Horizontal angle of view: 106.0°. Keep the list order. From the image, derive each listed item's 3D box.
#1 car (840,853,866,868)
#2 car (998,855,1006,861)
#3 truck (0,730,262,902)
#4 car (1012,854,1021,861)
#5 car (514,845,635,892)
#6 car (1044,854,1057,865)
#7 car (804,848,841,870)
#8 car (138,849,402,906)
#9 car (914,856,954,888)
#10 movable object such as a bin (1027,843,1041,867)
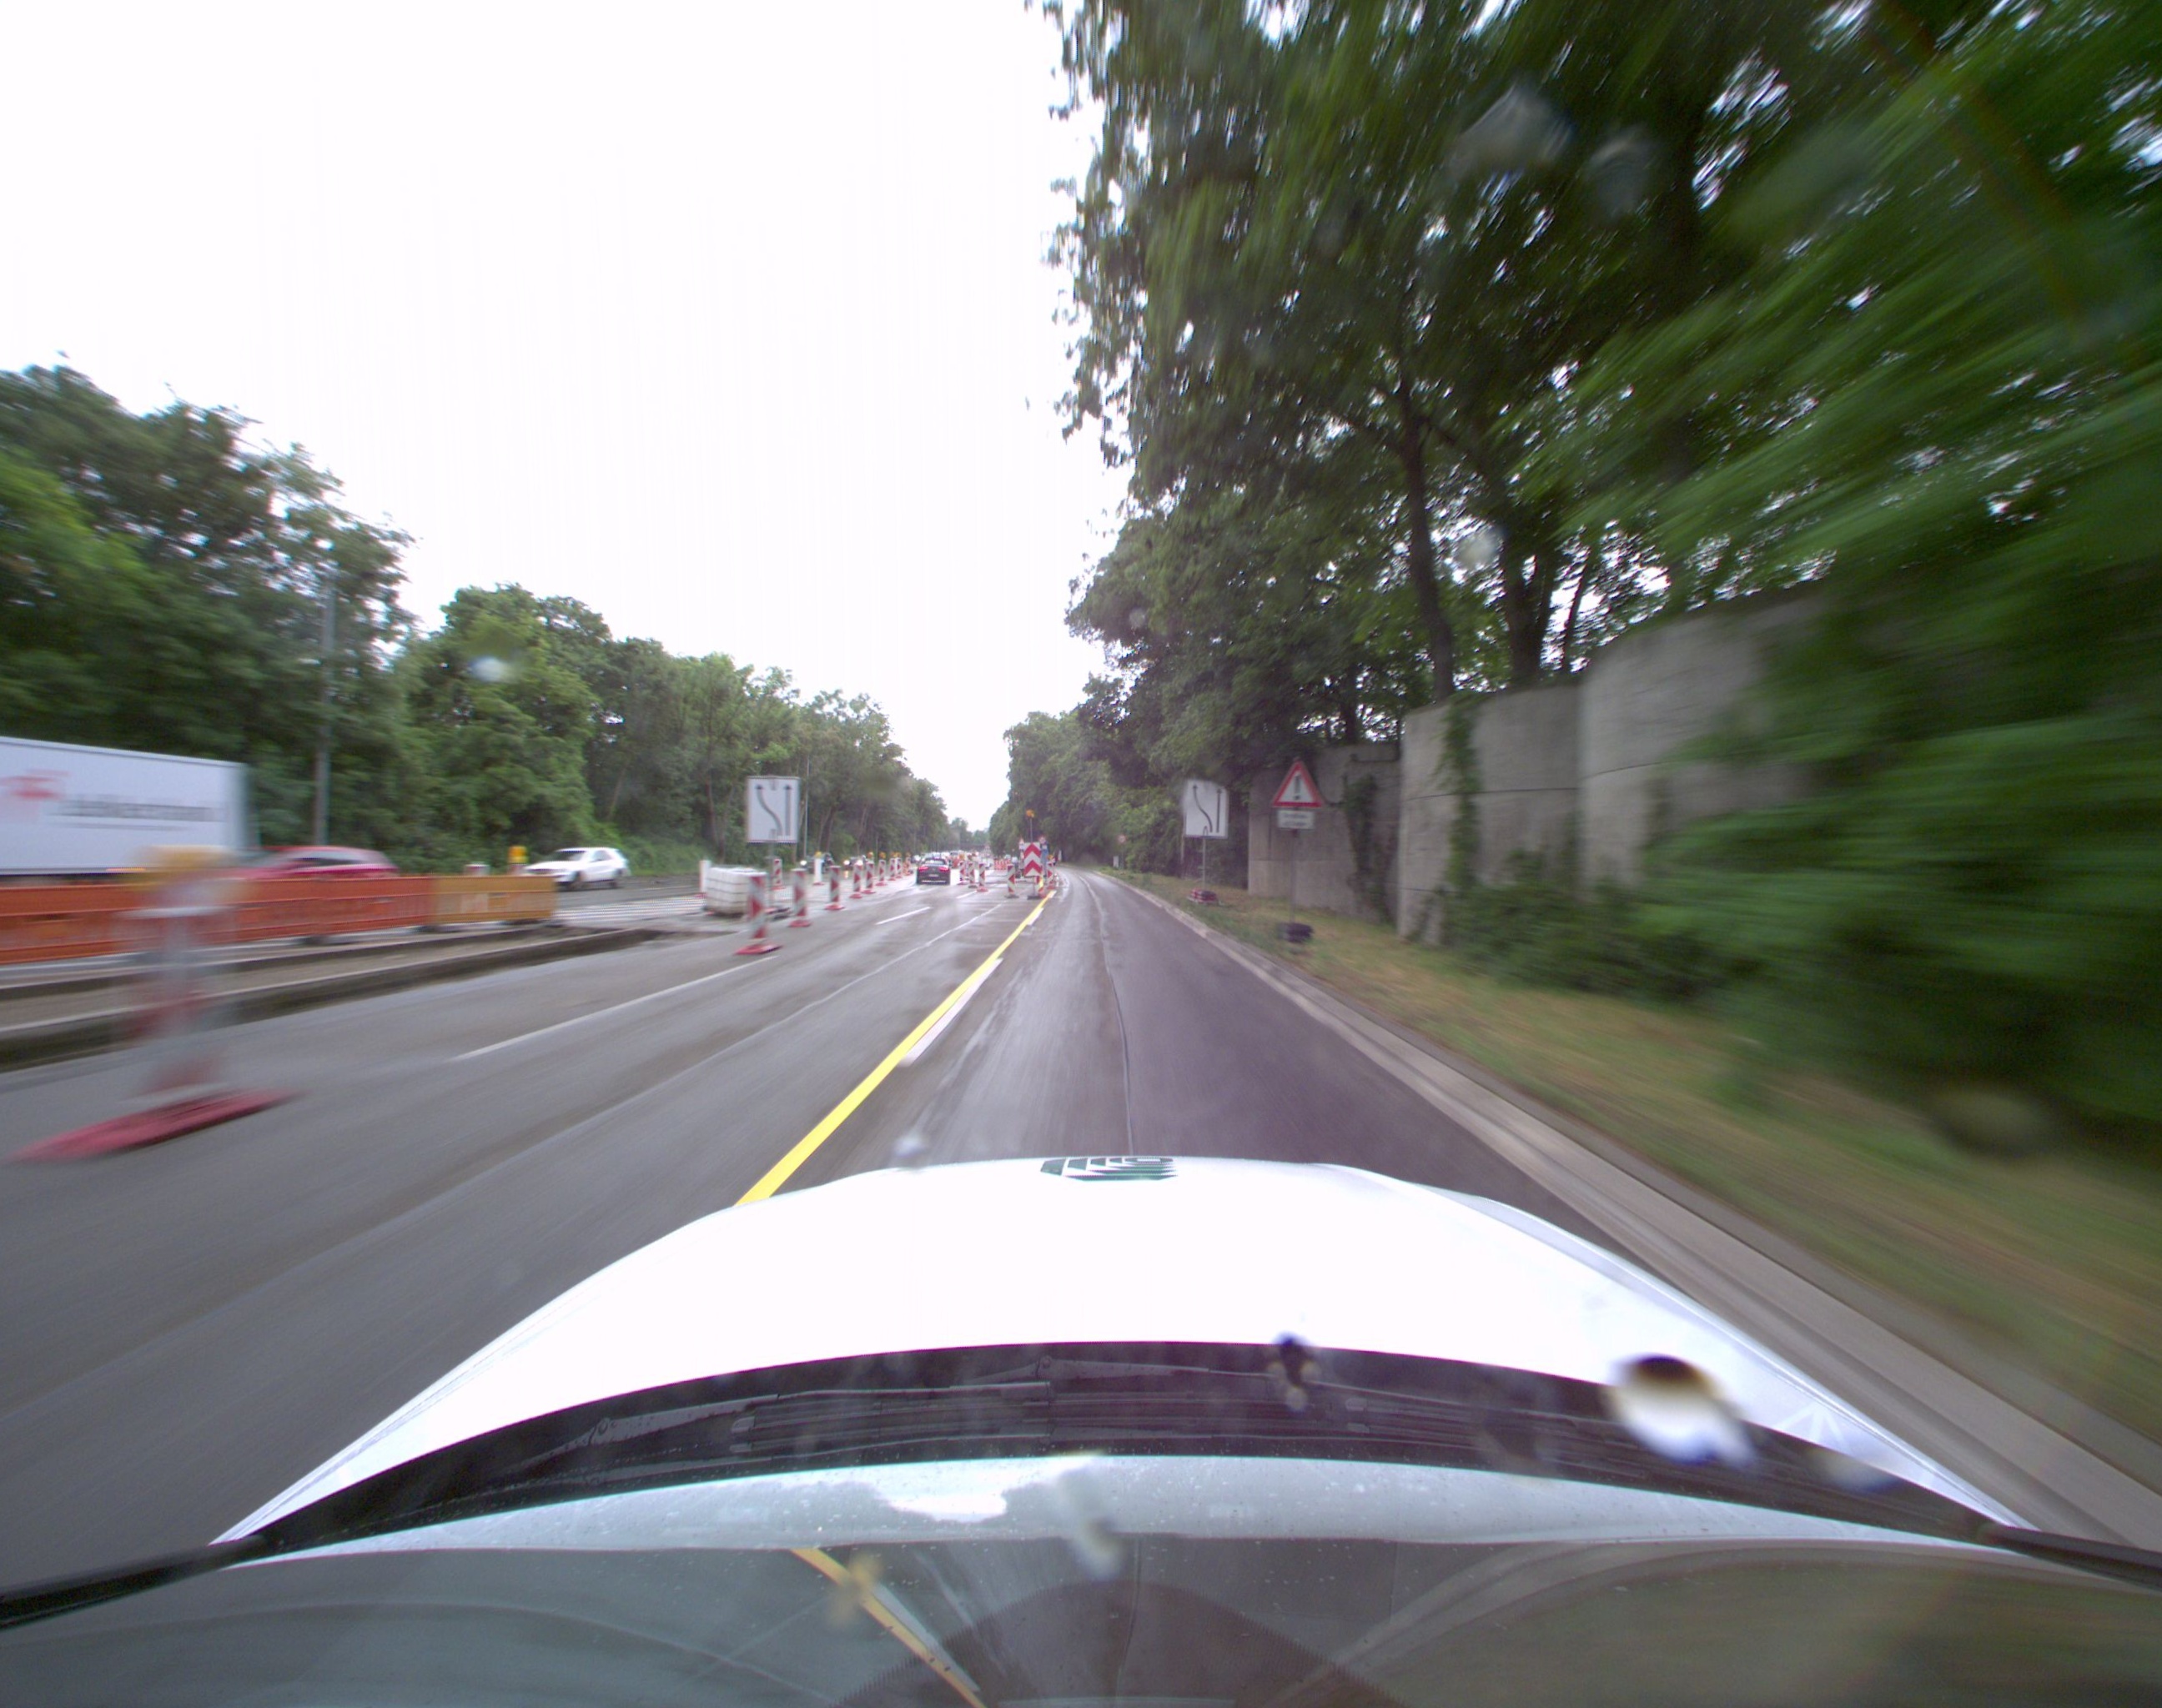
[{"bbox_3d":[-22.198,0.628,79.435,1.521,1.457,3.538,-1,0,-1],"label":"car"},{"bbox_3d":[-21.230,1.106,218.625,1.870,1.618,3.997,3,0,-2],"label":"car"},{"bbox_3d":[-21.187,-0.706,14.418,2.784,3.148,10.153,0,0,2],"label":"truck"},{"bbox_3d":[-14.757,0.802,186.522,1.755,1.344,3.990,1,1,-8],"label":"car"},{"bbox_3d":[-20.693,0.549,33.547,1.837,1.723,4.722,-3,0,2],"label":"car"},{"bbox_3d":[-4.809,0.811,128.733,1.909,1.598,4.830,1,1,-2],"label":"car"},{"bbox_3d":[-20.689,0.376,65.337,1.630,1.647,4.199,-1,0,0],"label":"car"},{"bbox_3d":[-18.084,0.476,18.508,1.599,1.152,4.285,0,0,2],"label":"car"},{"bbox_3d":[-8.163,0.969,45.390,1.860,1.491,3.992,1,2,-6],"label":"car"},{"bbox_3d":[-5.834,0.087,101.107,1.743,2.867,3.529,0,0,-4],"label":"movable object such as a bin"}]
